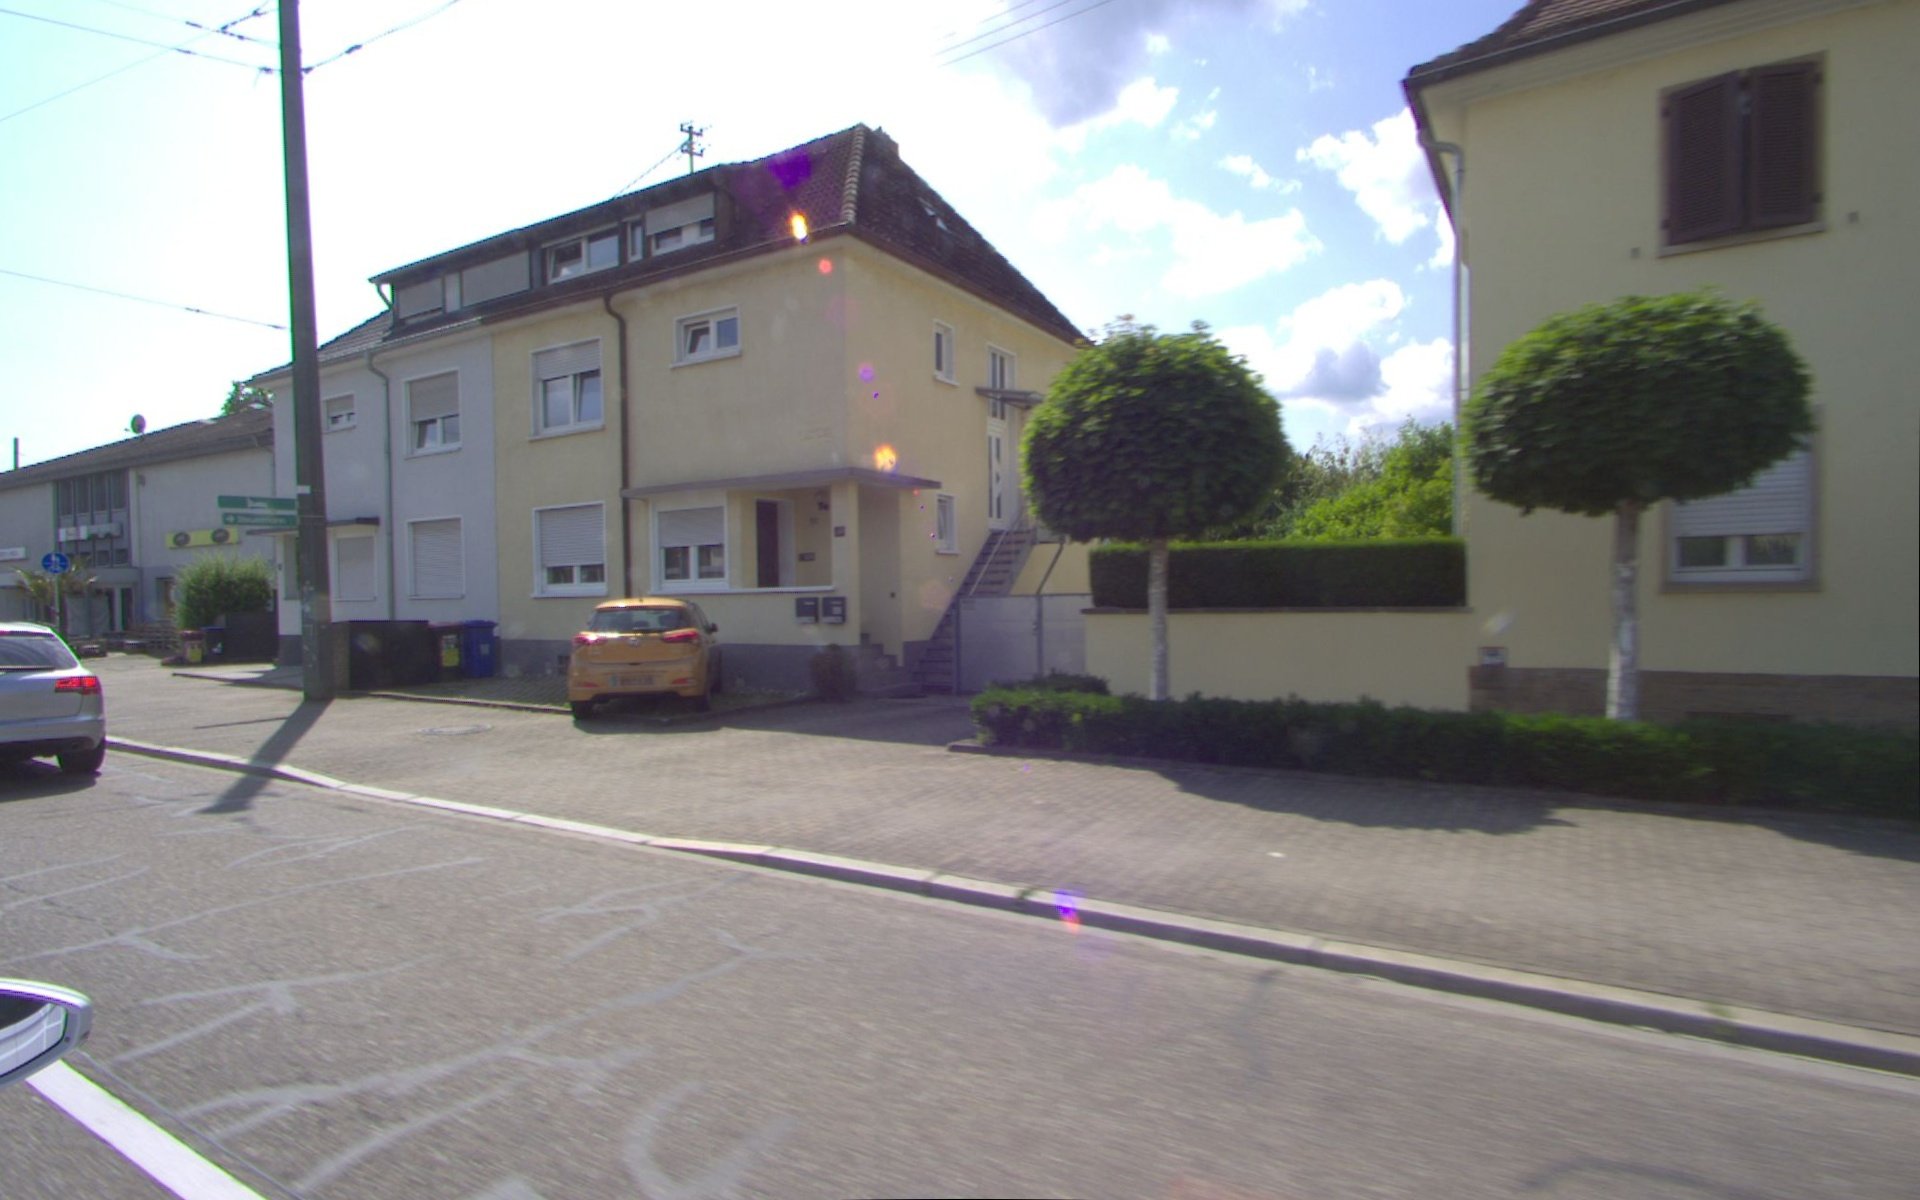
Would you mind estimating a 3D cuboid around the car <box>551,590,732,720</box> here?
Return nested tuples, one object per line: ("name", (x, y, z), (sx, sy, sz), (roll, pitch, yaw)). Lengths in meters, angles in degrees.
("car", (-4.298, 0.642, 14.148), (1.880, 1.478, 4.087), (0, 2, -10))

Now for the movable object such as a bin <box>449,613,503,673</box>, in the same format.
("movable object such as a bin", (-9.011, 0.784, 18.642), (0.649, 1.069, 0.644), (0, 1, 30))

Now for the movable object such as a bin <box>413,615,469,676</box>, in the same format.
("movable object such as a bin", (-9.330, 0.808, 18.014), (0.675, 1.061, 0.637), (0, 1, 30))

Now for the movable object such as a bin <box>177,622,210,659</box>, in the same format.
("movable object such as a bin", (-19.313, 1.006, 25.232), (0.537, 0.907, 0.444), (0, 2, 26))

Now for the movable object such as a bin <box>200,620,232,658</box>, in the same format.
("movable object such as a bin", (-19.062, 0.992, 25.667), (0.541, 0.947, 0.441), (0, 2, 26))

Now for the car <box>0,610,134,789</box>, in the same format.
("car", (-10.061, 0.867, 9.796), (4.472, 1.512, 1.850), (0, 0, 34))
